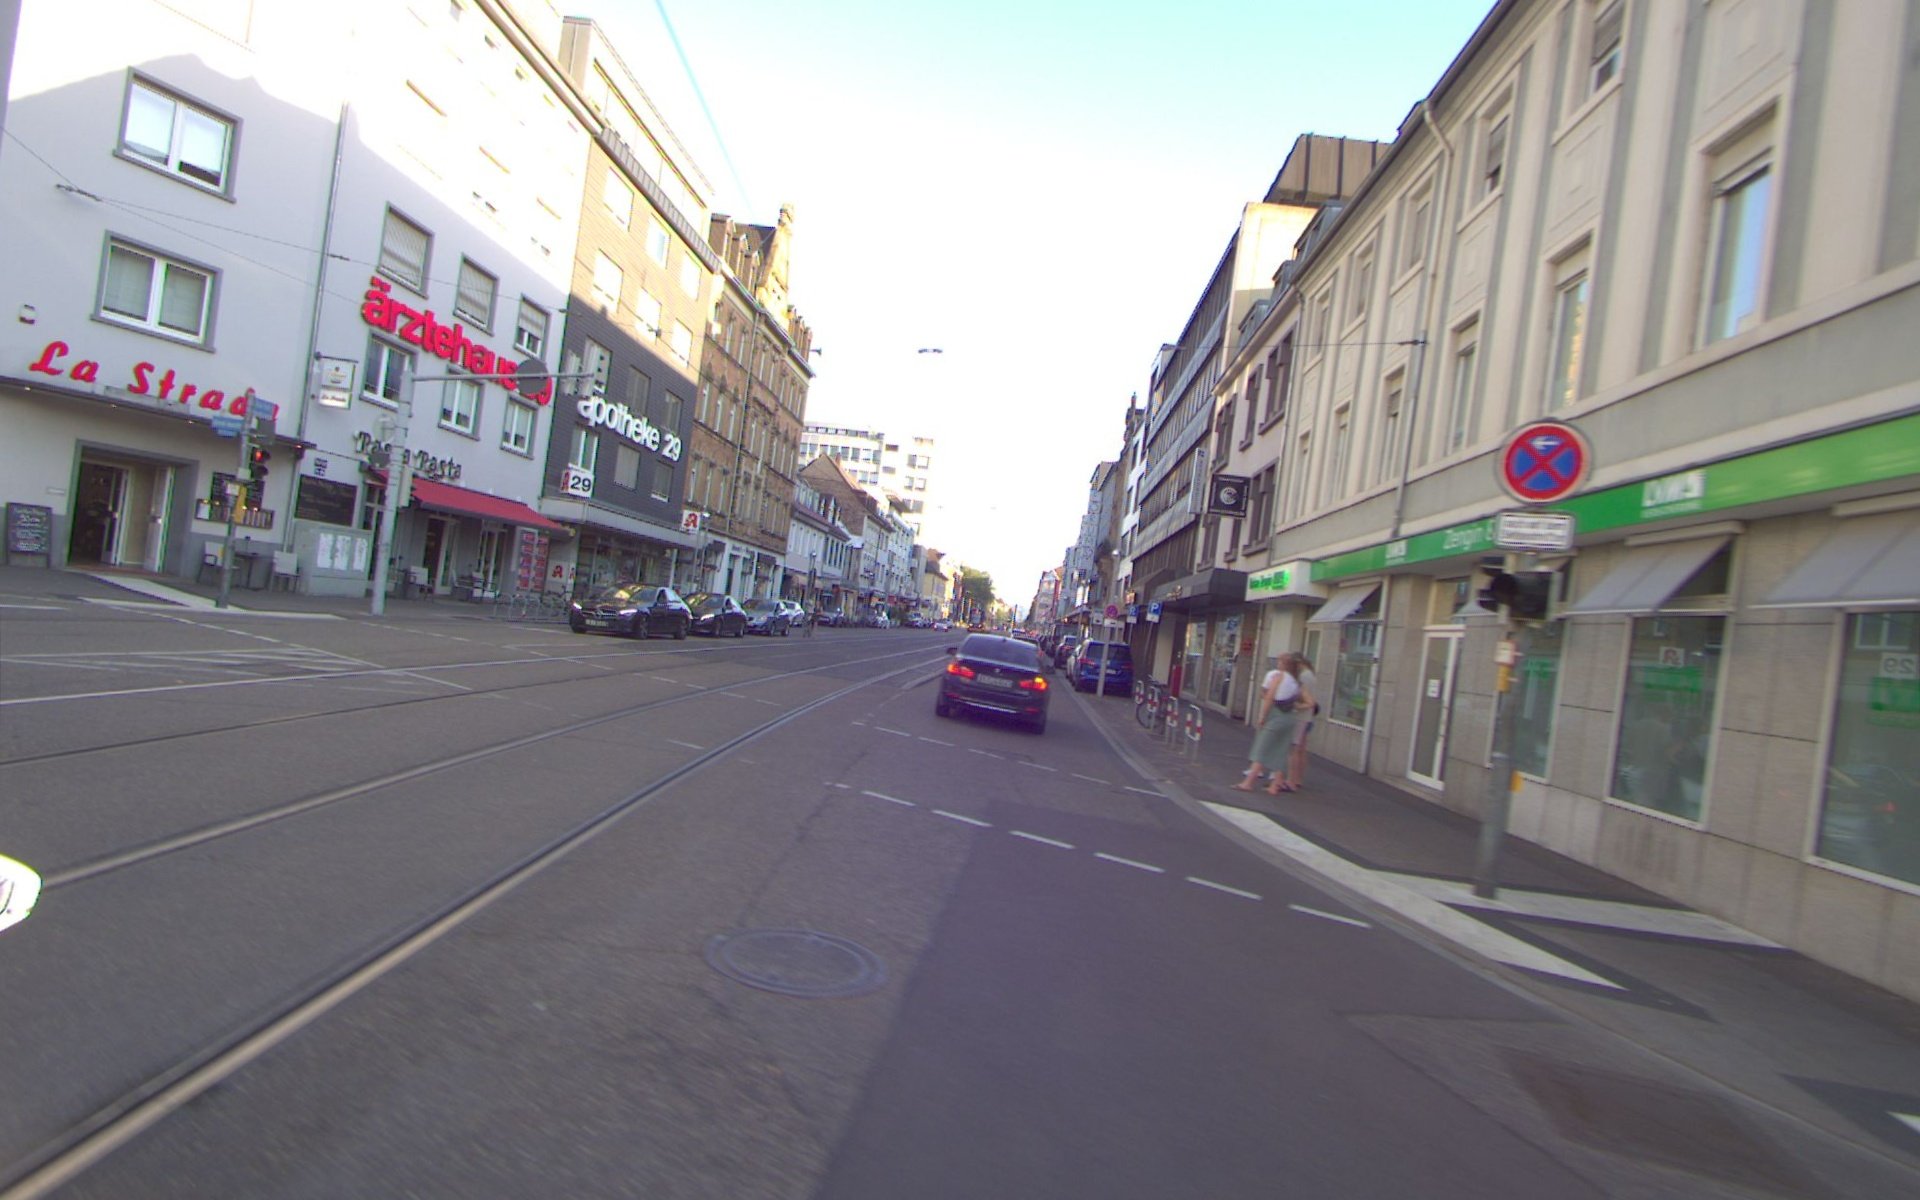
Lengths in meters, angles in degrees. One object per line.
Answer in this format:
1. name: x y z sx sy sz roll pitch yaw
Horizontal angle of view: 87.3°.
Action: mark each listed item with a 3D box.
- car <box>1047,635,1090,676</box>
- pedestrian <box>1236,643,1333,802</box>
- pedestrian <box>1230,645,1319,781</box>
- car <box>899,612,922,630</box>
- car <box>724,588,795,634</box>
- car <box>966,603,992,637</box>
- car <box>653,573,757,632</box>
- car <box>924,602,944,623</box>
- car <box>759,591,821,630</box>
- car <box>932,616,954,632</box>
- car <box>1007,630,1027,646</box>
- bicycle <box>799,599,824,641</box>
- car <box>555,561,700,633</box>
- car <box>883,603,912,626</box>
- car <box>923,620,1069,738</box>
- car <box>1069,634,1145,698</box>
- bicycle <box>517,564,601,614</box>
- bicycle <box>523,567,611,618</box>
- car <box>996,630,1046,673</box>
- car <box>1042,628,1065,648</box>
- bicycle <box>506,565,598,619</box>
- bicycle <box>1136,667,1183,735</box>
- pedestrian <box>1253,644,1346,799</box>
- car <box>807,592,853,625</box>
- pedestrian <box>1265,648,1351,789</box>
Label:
1. car: 5.482 2.778 51.389 1.780 1.649 3.753 11 -1 4
2. pedestrian: 4.009 1.496 12.500 0.889 1.792 0.780 8 -1 16
3. pedestrian: 4.458 1.588 14.290 0.753 1.792 0.685 8 -1 -13
4. car: -5.907 2.506 119.767 1.939 1.724 4.989 8 -2 4
5. car: -7.832 0.465 39.625 1.736 1.435 3.684 8 -2 3
6. car: 2.873 2.996 145.083 2.915 4.090 12.263 8 -2 3
7. car: -8.332 0.140 33.261 1.963 1.541 4.401 8 -1 3
8. car: -3.737 1.859 145.547 1.962 2.522 4.516 8 -2 7
9. car: -9.650 0.642 57.450 1.954 1.724 4.990 8 -2 7
10. car: -2.116 3.040 128.175 1.962 1.547 4.516 8 -2 7
11. car: 5.608 3.669 98.727 1.762 1.186 4.512 11 -1 4
12. bicycle: -6.584 0.856 44.529 0.849 1.651 3.049 8 -1 -9
13. car: -8.452 -0.037 26.050 1.945 1.487 4.481 7 0 3
14. car: -6.135 1.470 99.449 1.955 1.836 5.063 8 -2 4
15. car: 0.721 1.269 17.228 1.963 1.436 4.514 10 -1 5
16. car: 4.809 2.138 33.601 1.963 1.723 4.513 8 -1 4
17. bicycle: -12.722 -0.340 31.962 2.254 1.207 0.655 10 1 -1
18. bicycle: -11.898 -0.220 30.521 2.254 1.206 0.656 9 -1 -1
19. car: 2.598 2.120 42.316 1.740 1.399 4.512 11 -1 4
20. car: 9.619 3.925 103.937 2.031 1.586 4.512 11 -1 4
21. bicycle: -11.849 -0.225 29.264 2.253 1.206 0.656 9 -1 -1
22. bicycle: 3.948 1.971 19.988 0.683 1.197 1.875 8 -2 9
23. pedestrian: 4.427 1.568 13.186 0.889 1.833 0.780 8 -1 16
24. car: -8.934 0.617 69.487 1.955 1.724 4.989 8 -2 4
25. pedestrian: 4.749 1.599 13.756 0.620 1.792 0.682 8 -1 -13
